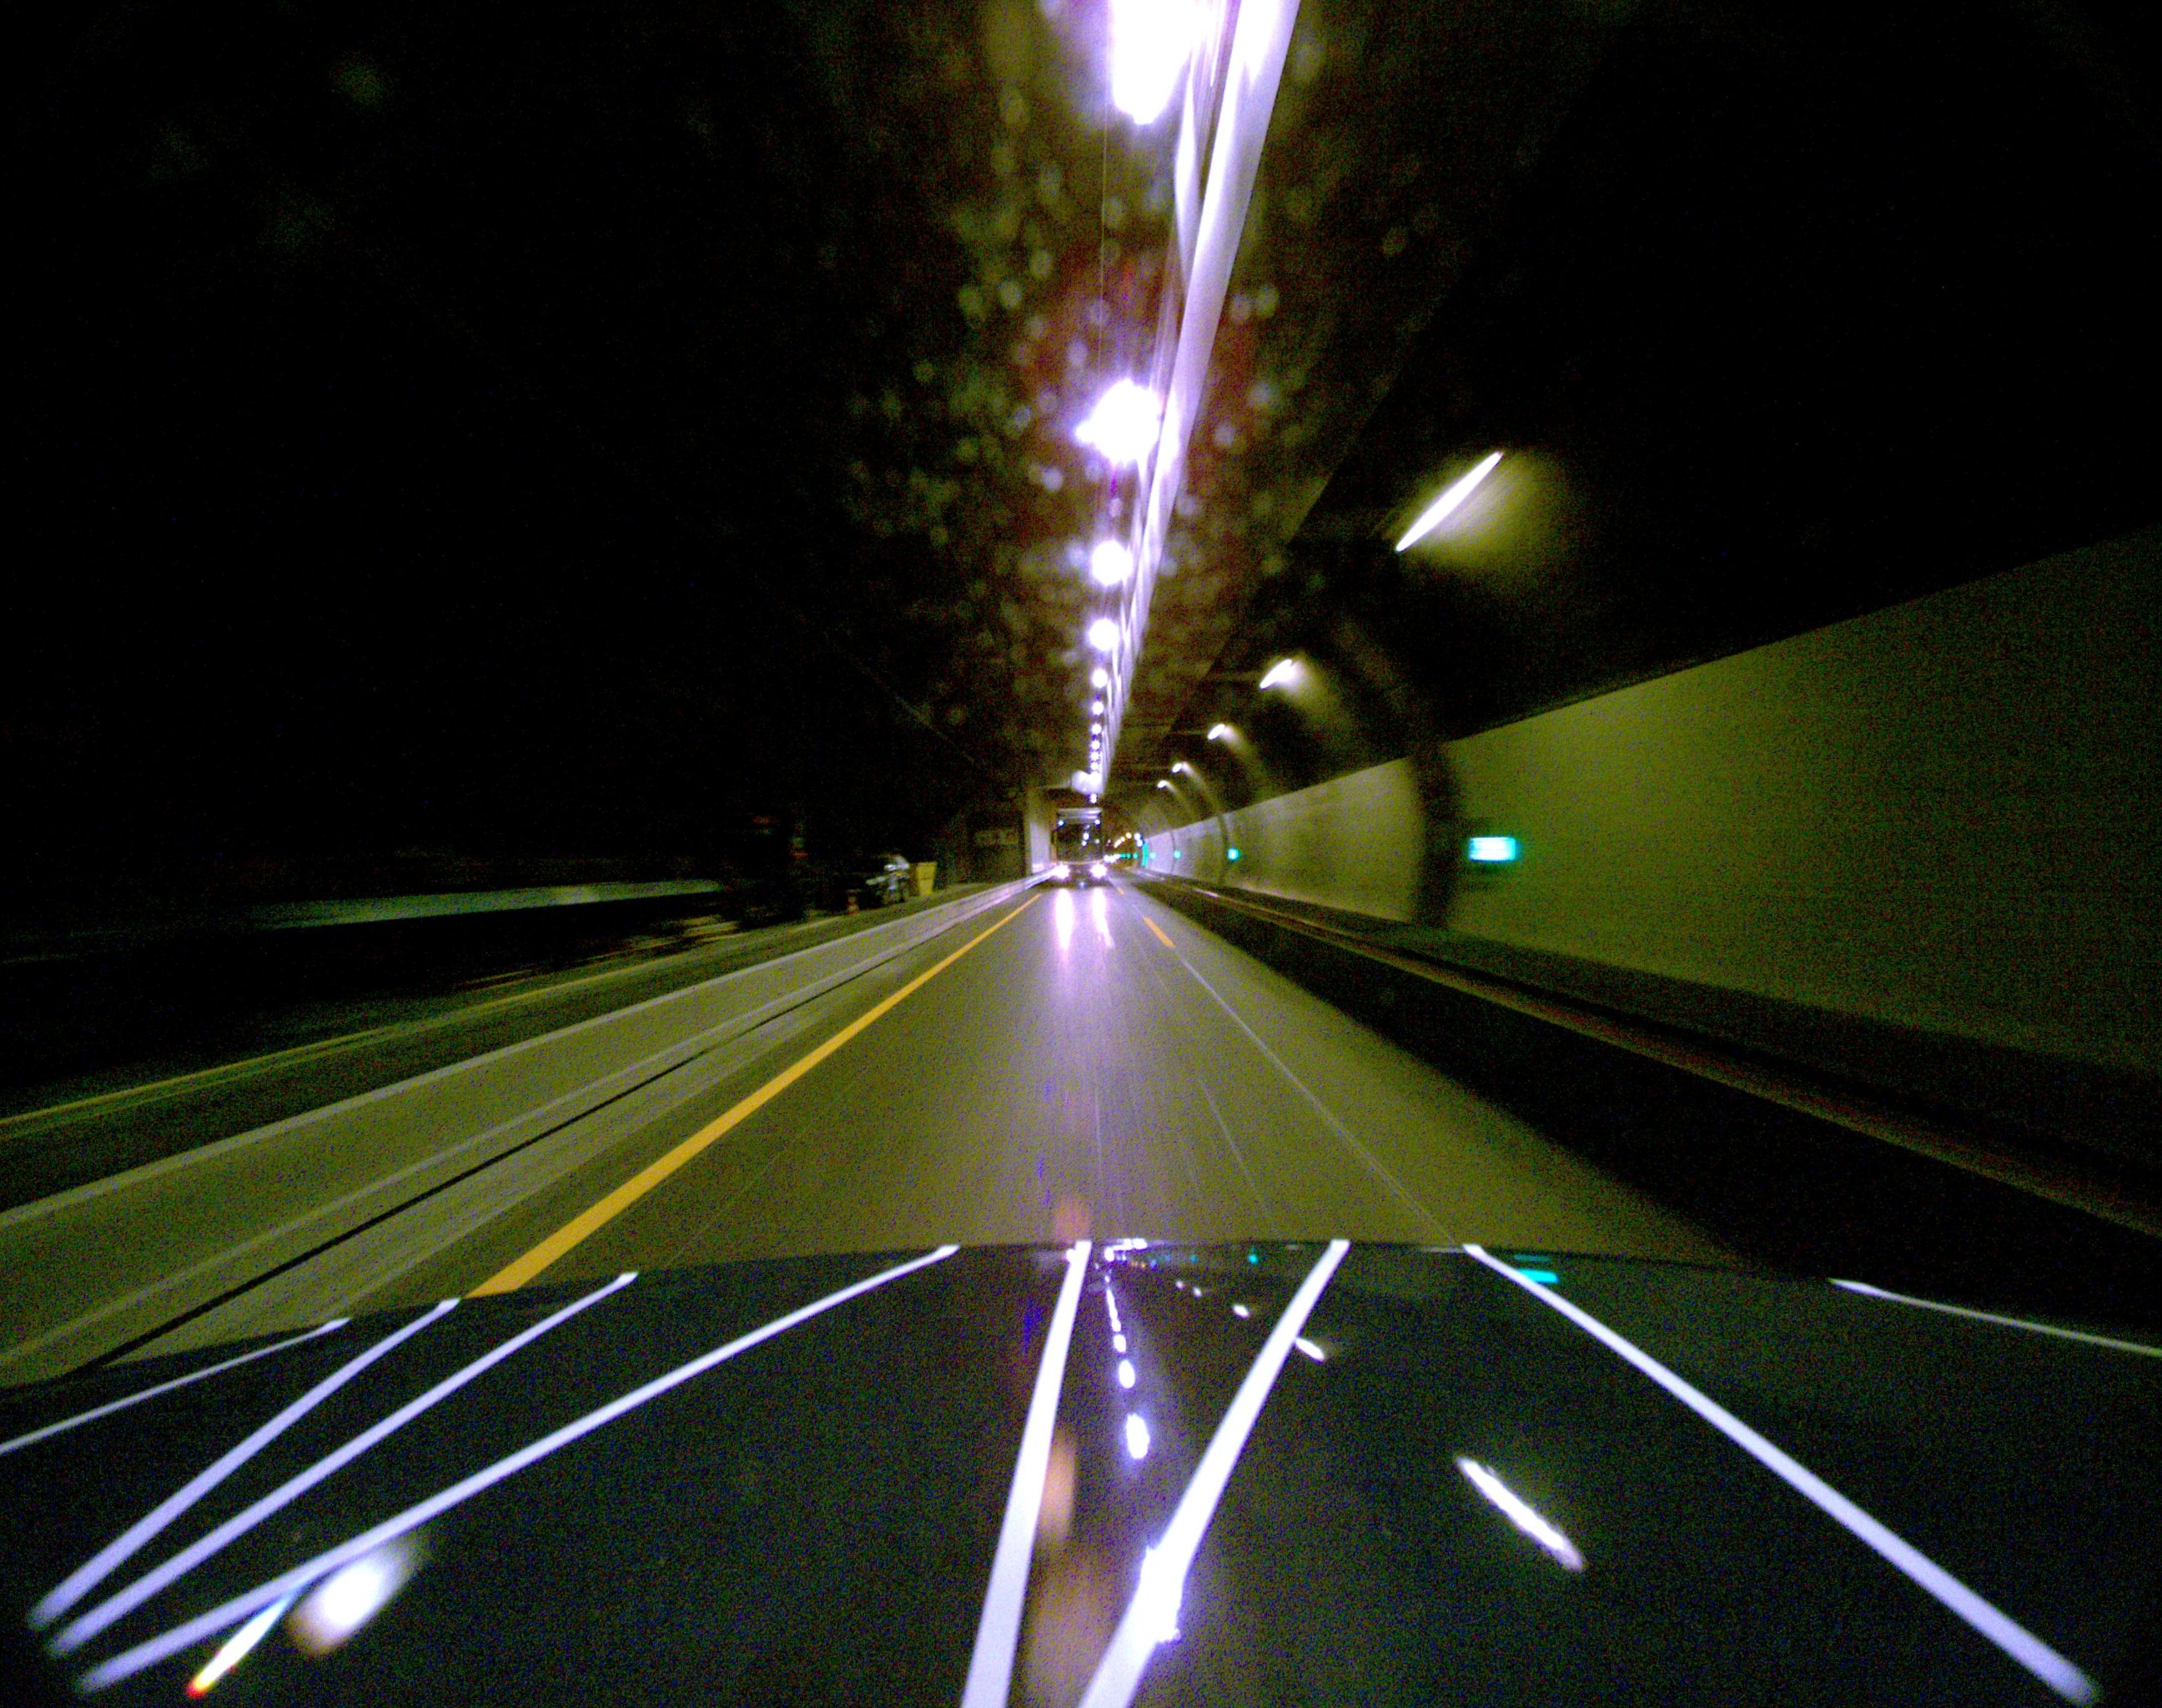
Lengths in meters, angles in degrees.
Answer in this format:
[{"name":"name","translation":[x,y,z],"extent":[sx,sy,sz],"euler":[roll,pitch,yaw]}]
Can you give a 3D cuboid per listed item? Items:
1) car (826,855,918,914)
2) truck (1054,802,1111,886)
[{"name":"car","translation":[-7.450,1.016,27.728],"extent":[1.832,1.848,5.441],"euler":[-3,0,-1]},{"name":"truck","translation":[0.175,-0.545,42.592],"extent":[2.769,4.198,7.977],"euler":[-2,0,2]}]
